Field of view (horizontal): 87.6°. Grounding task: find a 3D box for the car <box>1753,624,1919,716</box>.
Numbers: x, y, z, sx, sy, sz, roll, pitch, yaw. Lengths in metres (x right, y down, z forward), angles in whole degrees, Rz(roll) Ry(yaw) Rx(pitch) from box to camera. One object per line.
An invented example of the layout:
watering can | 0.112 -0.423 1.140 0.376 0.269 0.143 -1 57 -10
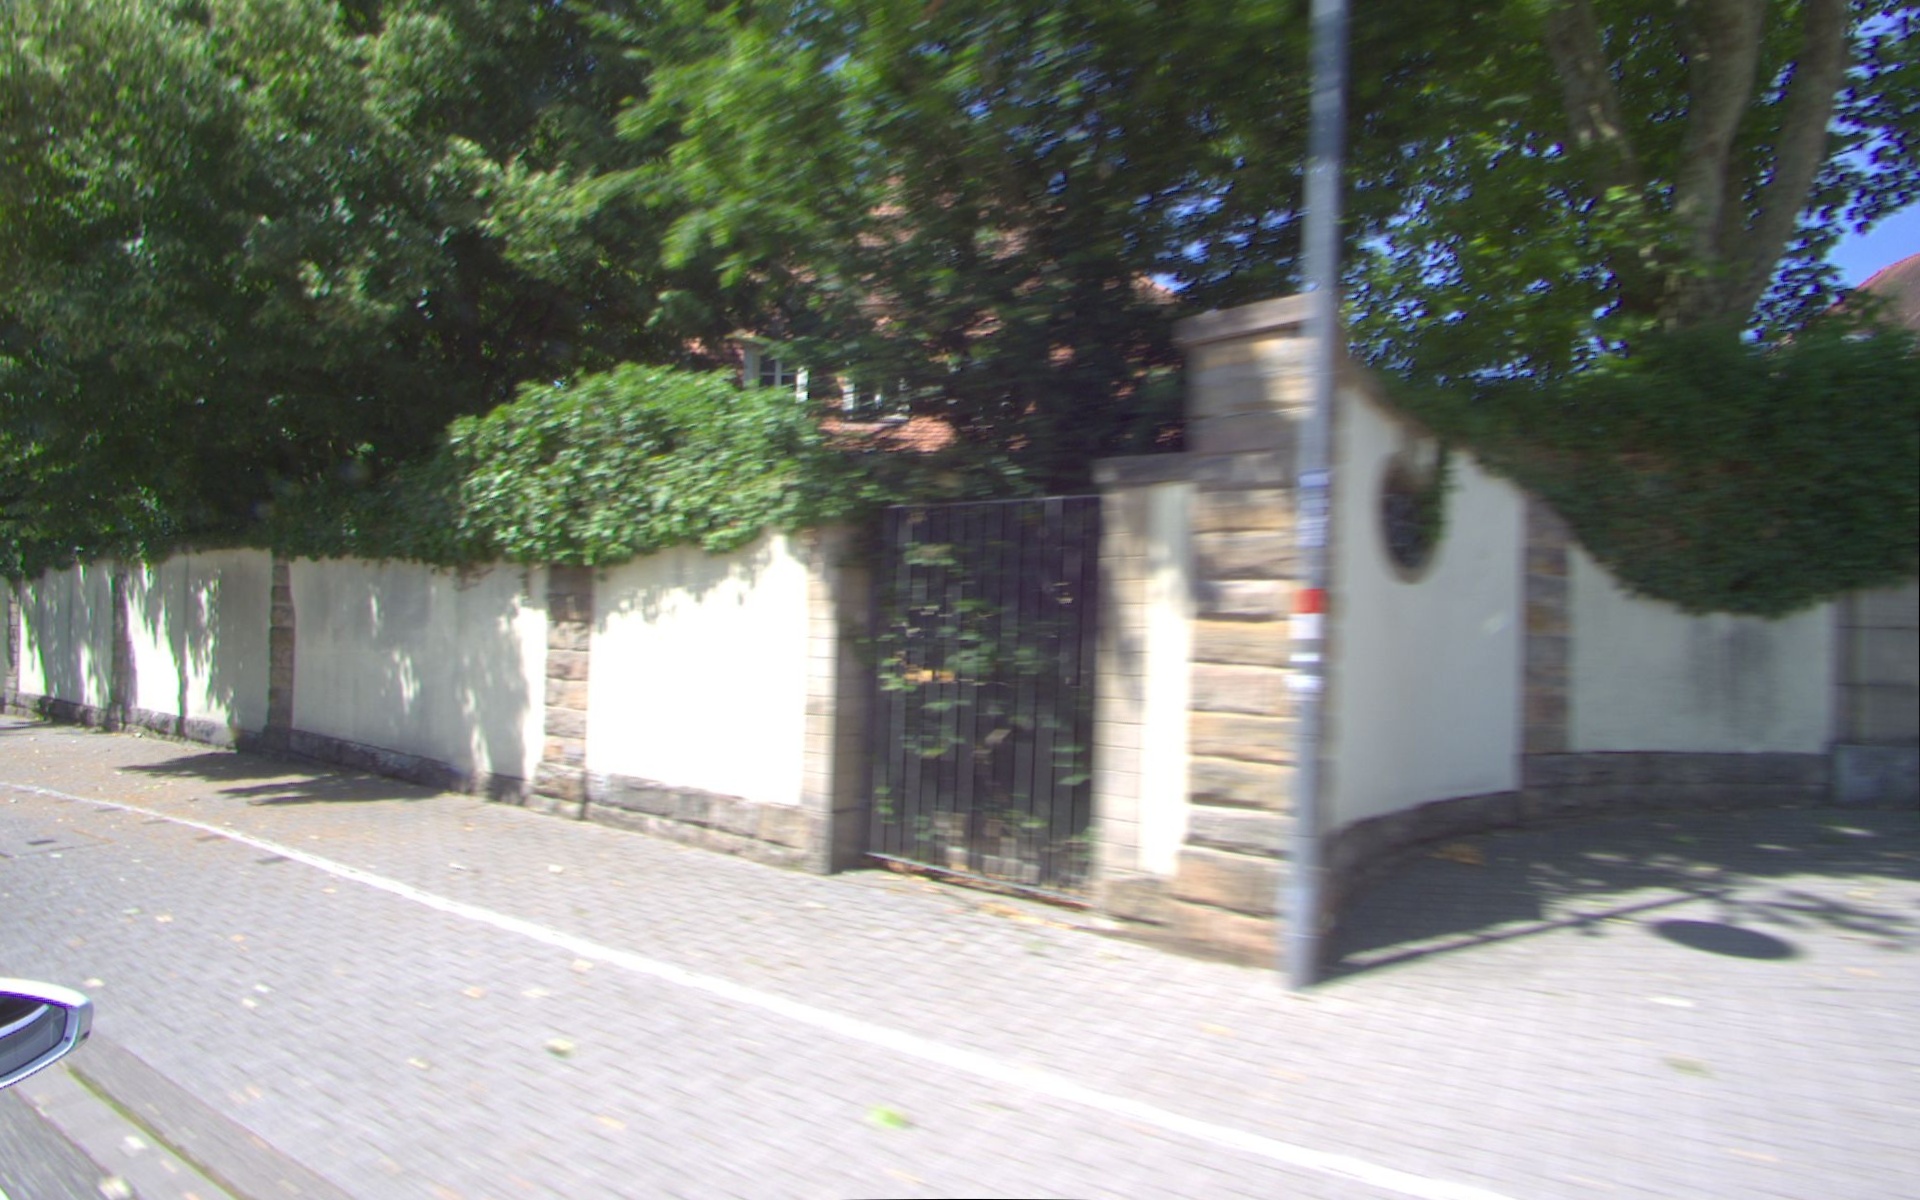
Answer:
car | 19.476 1.441 20.978 4.247 1.834 1.843 0 -1 0
